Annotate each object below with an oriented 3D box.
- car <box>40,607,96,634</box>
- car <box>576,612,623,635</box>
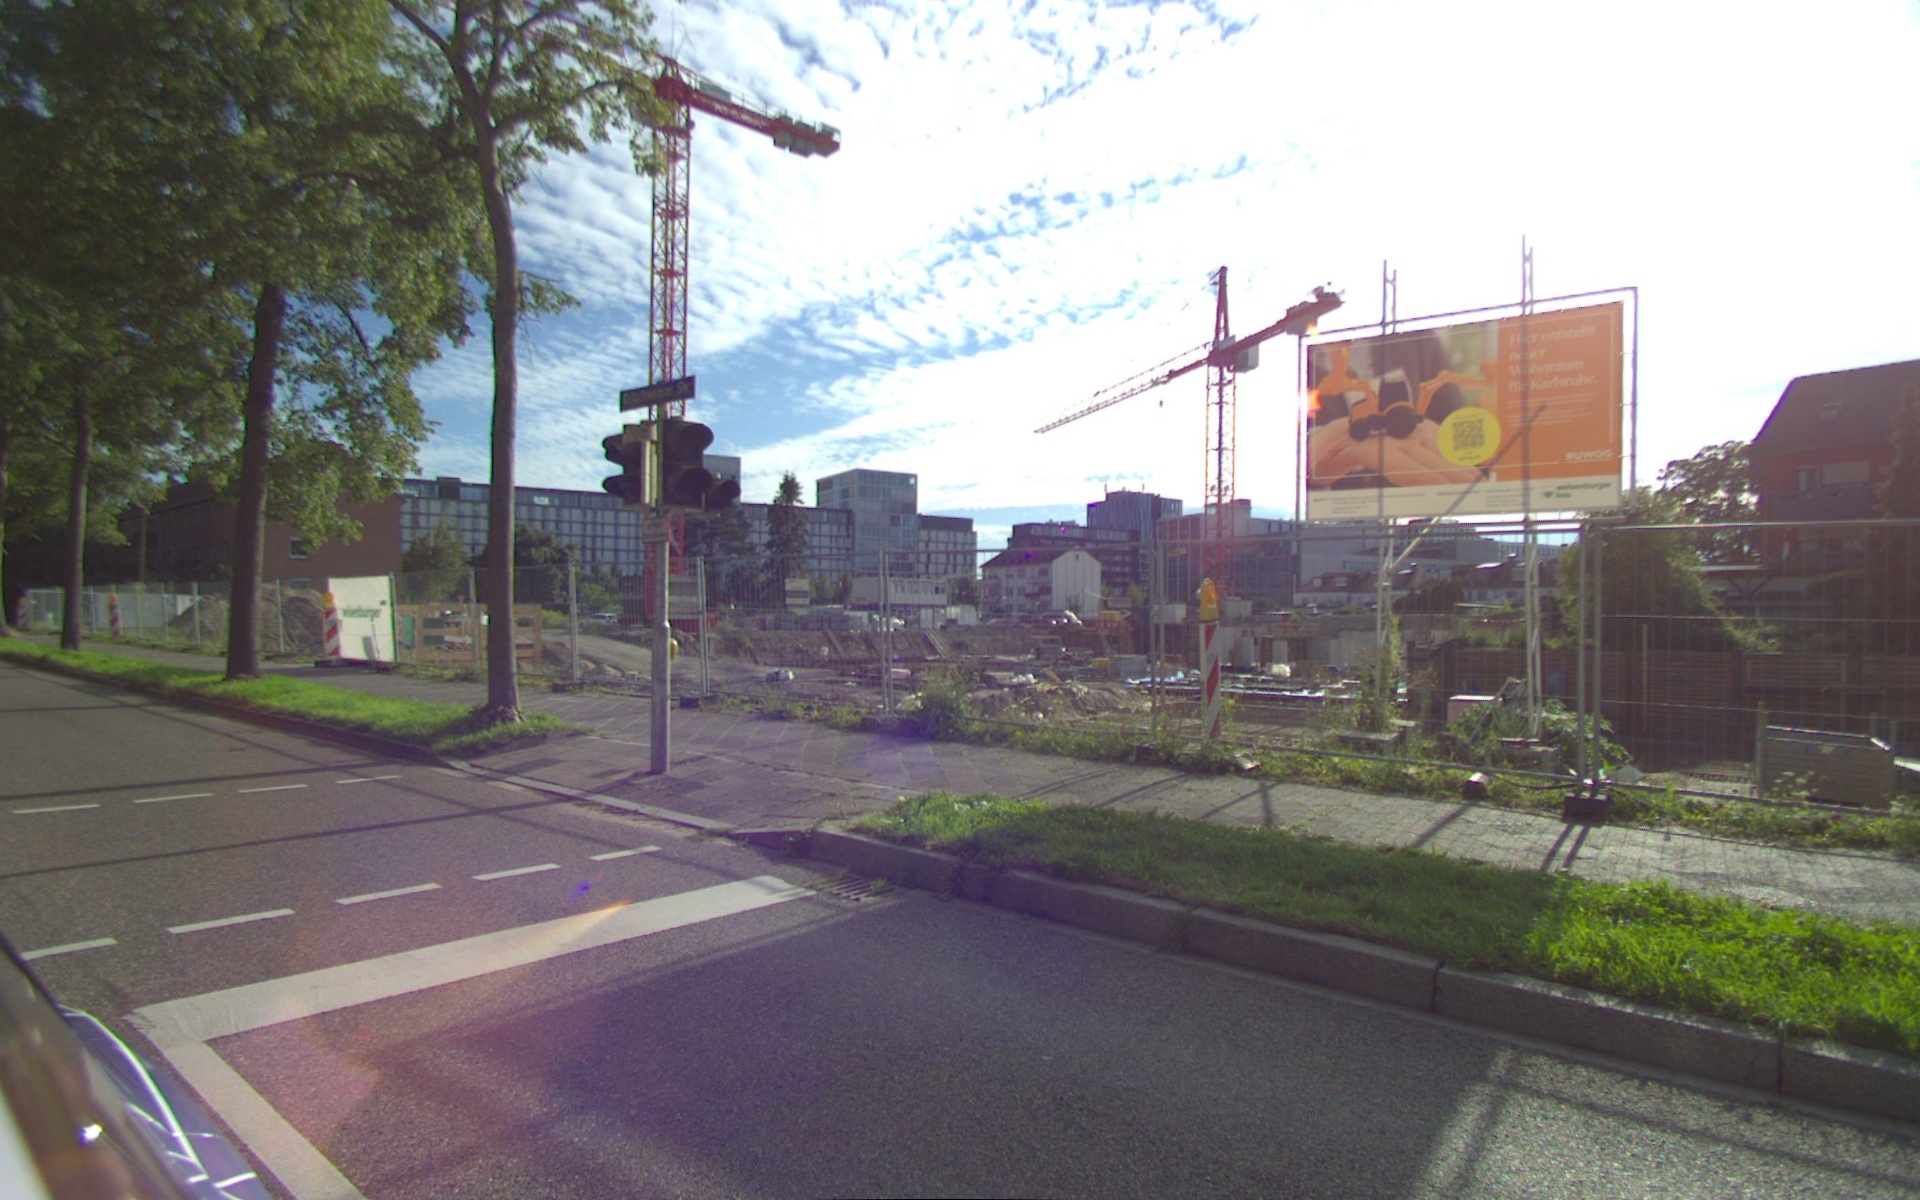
[{"bbox_3d":[-54.051,1.227,61.283,4.506,1.439,1.972,1,-1,42],"label":"car"},{"bbox_3d":[-30.794,1.983,86.399,3.975,1.821,1.797,2,1,34],"label":"car"}]
